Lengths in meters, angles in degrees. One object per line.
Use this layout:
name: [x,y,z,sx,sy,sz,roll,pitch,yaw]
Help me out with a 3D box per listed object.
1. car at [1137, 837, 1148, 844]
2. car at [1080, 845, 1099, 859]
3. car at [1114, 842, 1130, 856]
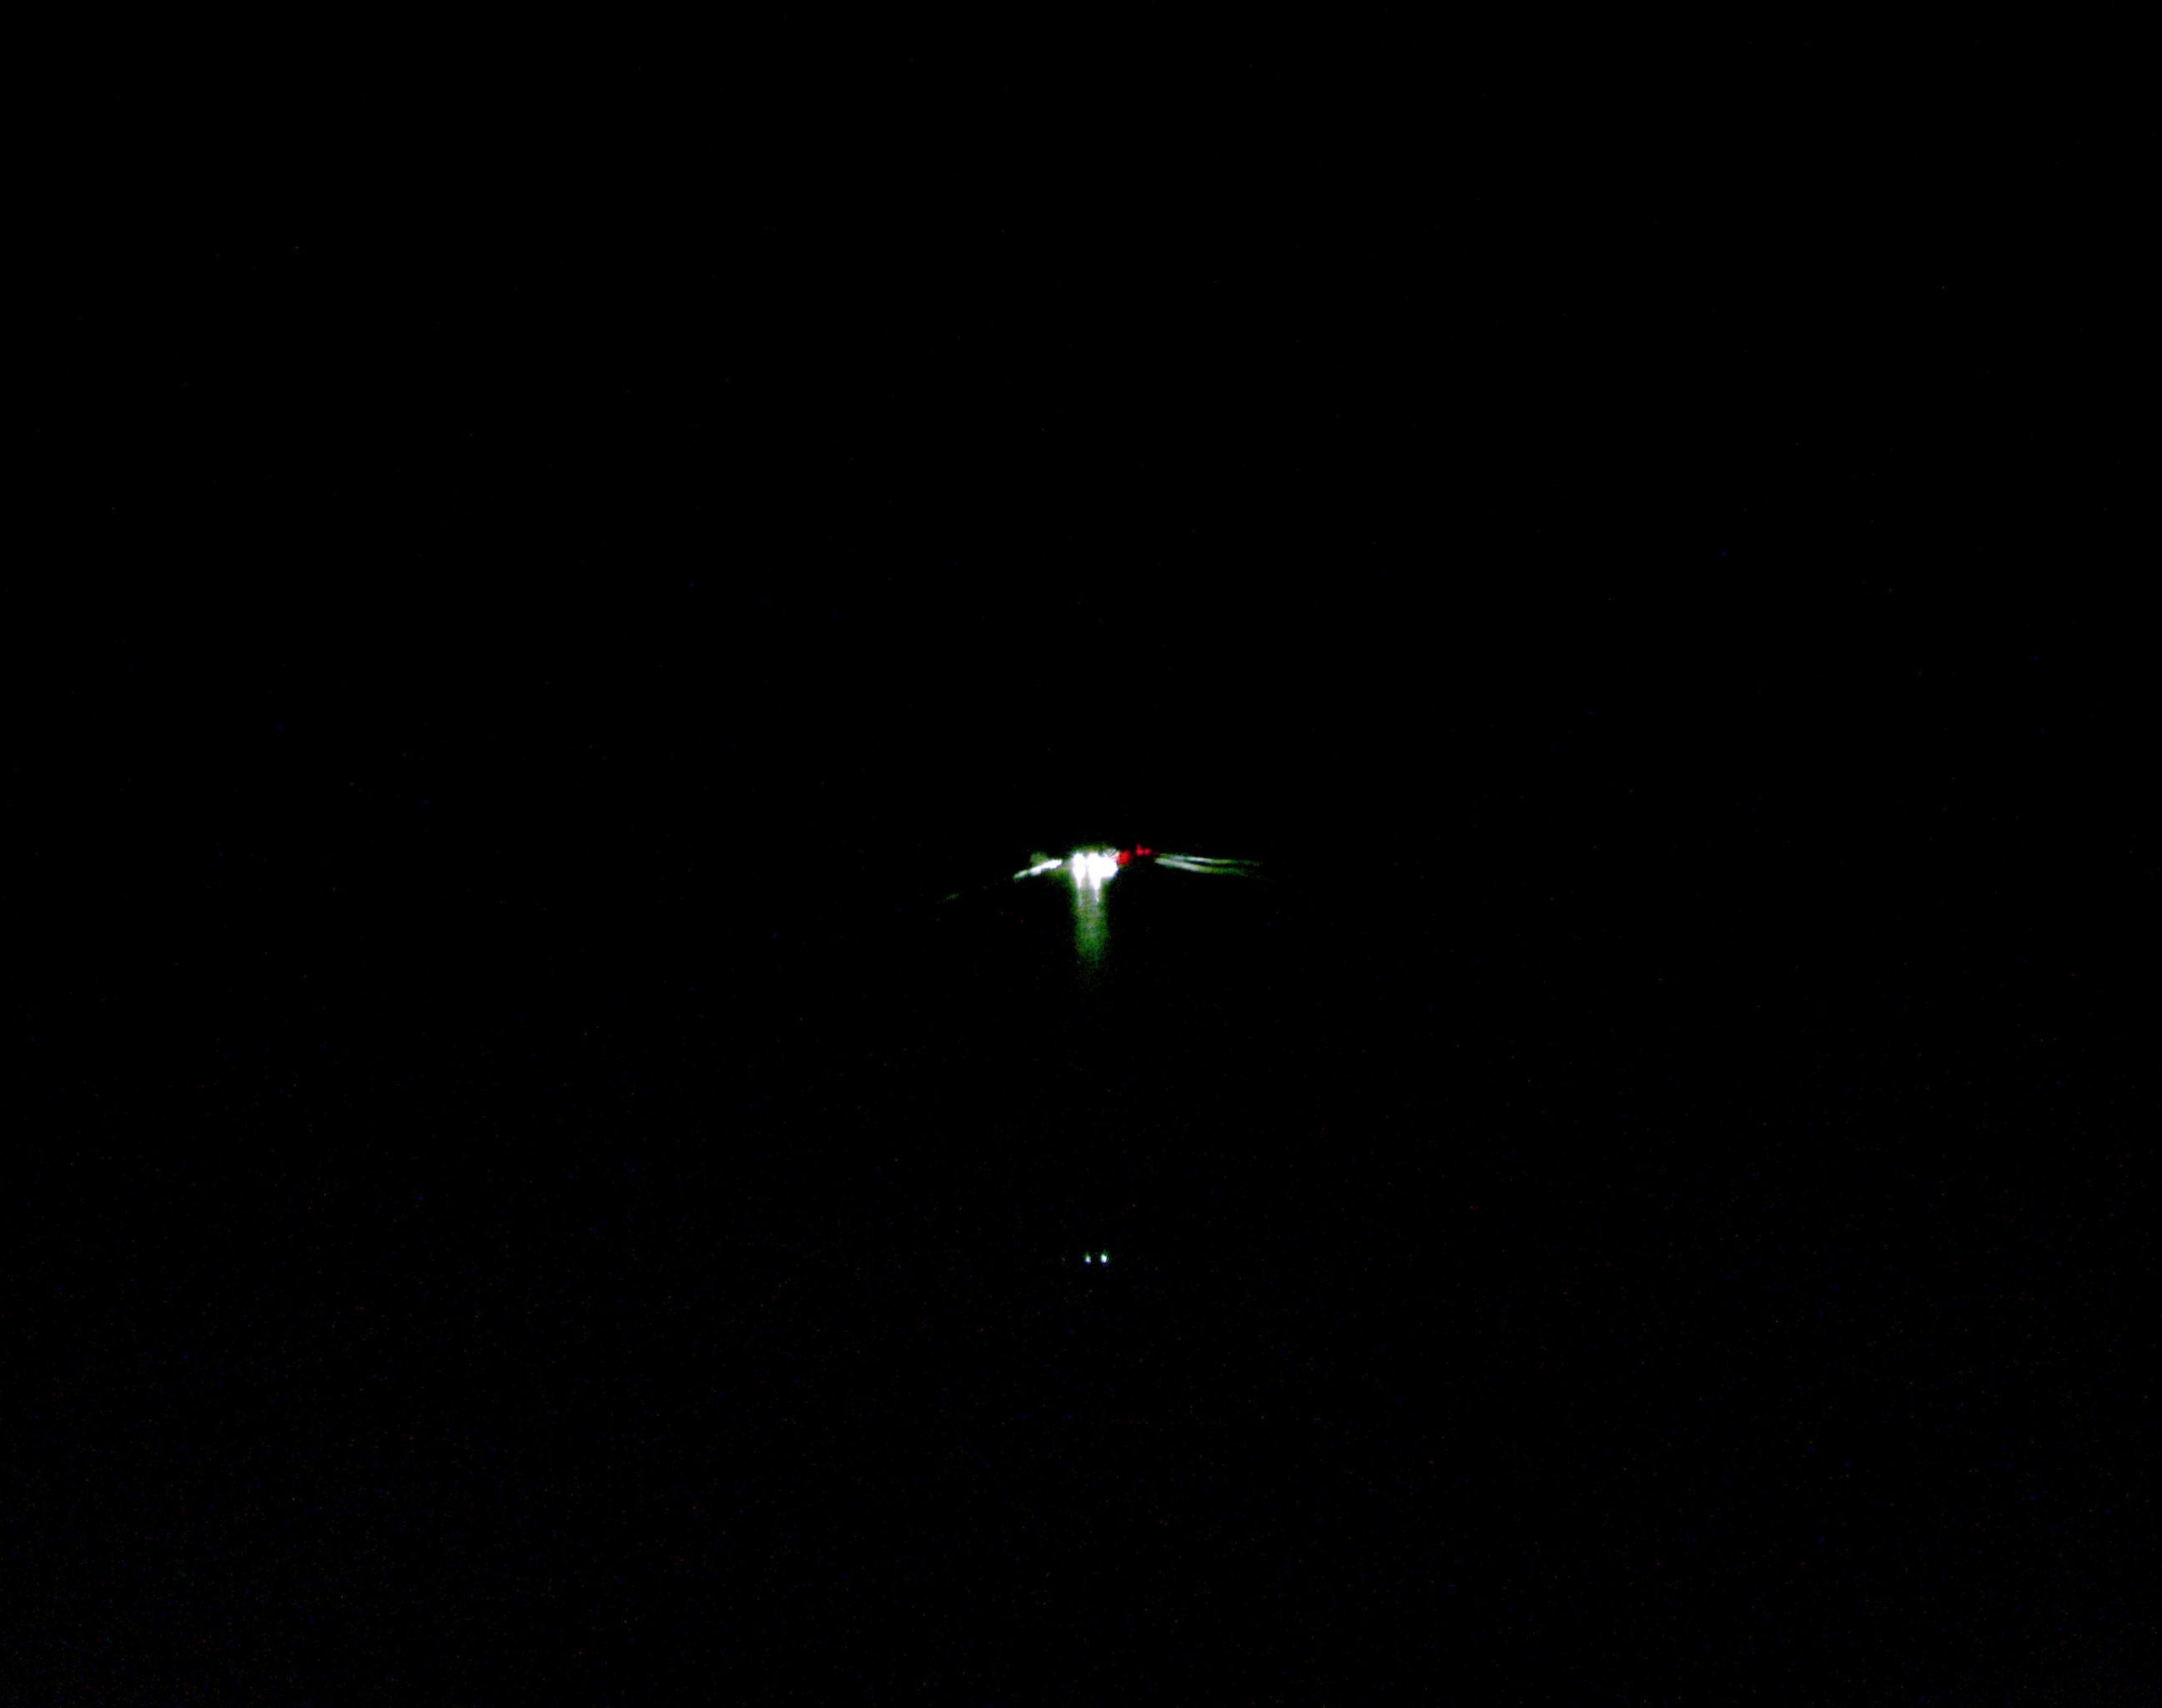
car: [13.262,-2.884,163.823,1.997,1.463,3.838,-2,1,7]
car: [0.909,-0.224,81.284,1.807,1.452,4.276,-2,1,3]
car: [4.946,-0.646,91.418,1.838,1.536,4.646,-2,1,3]
